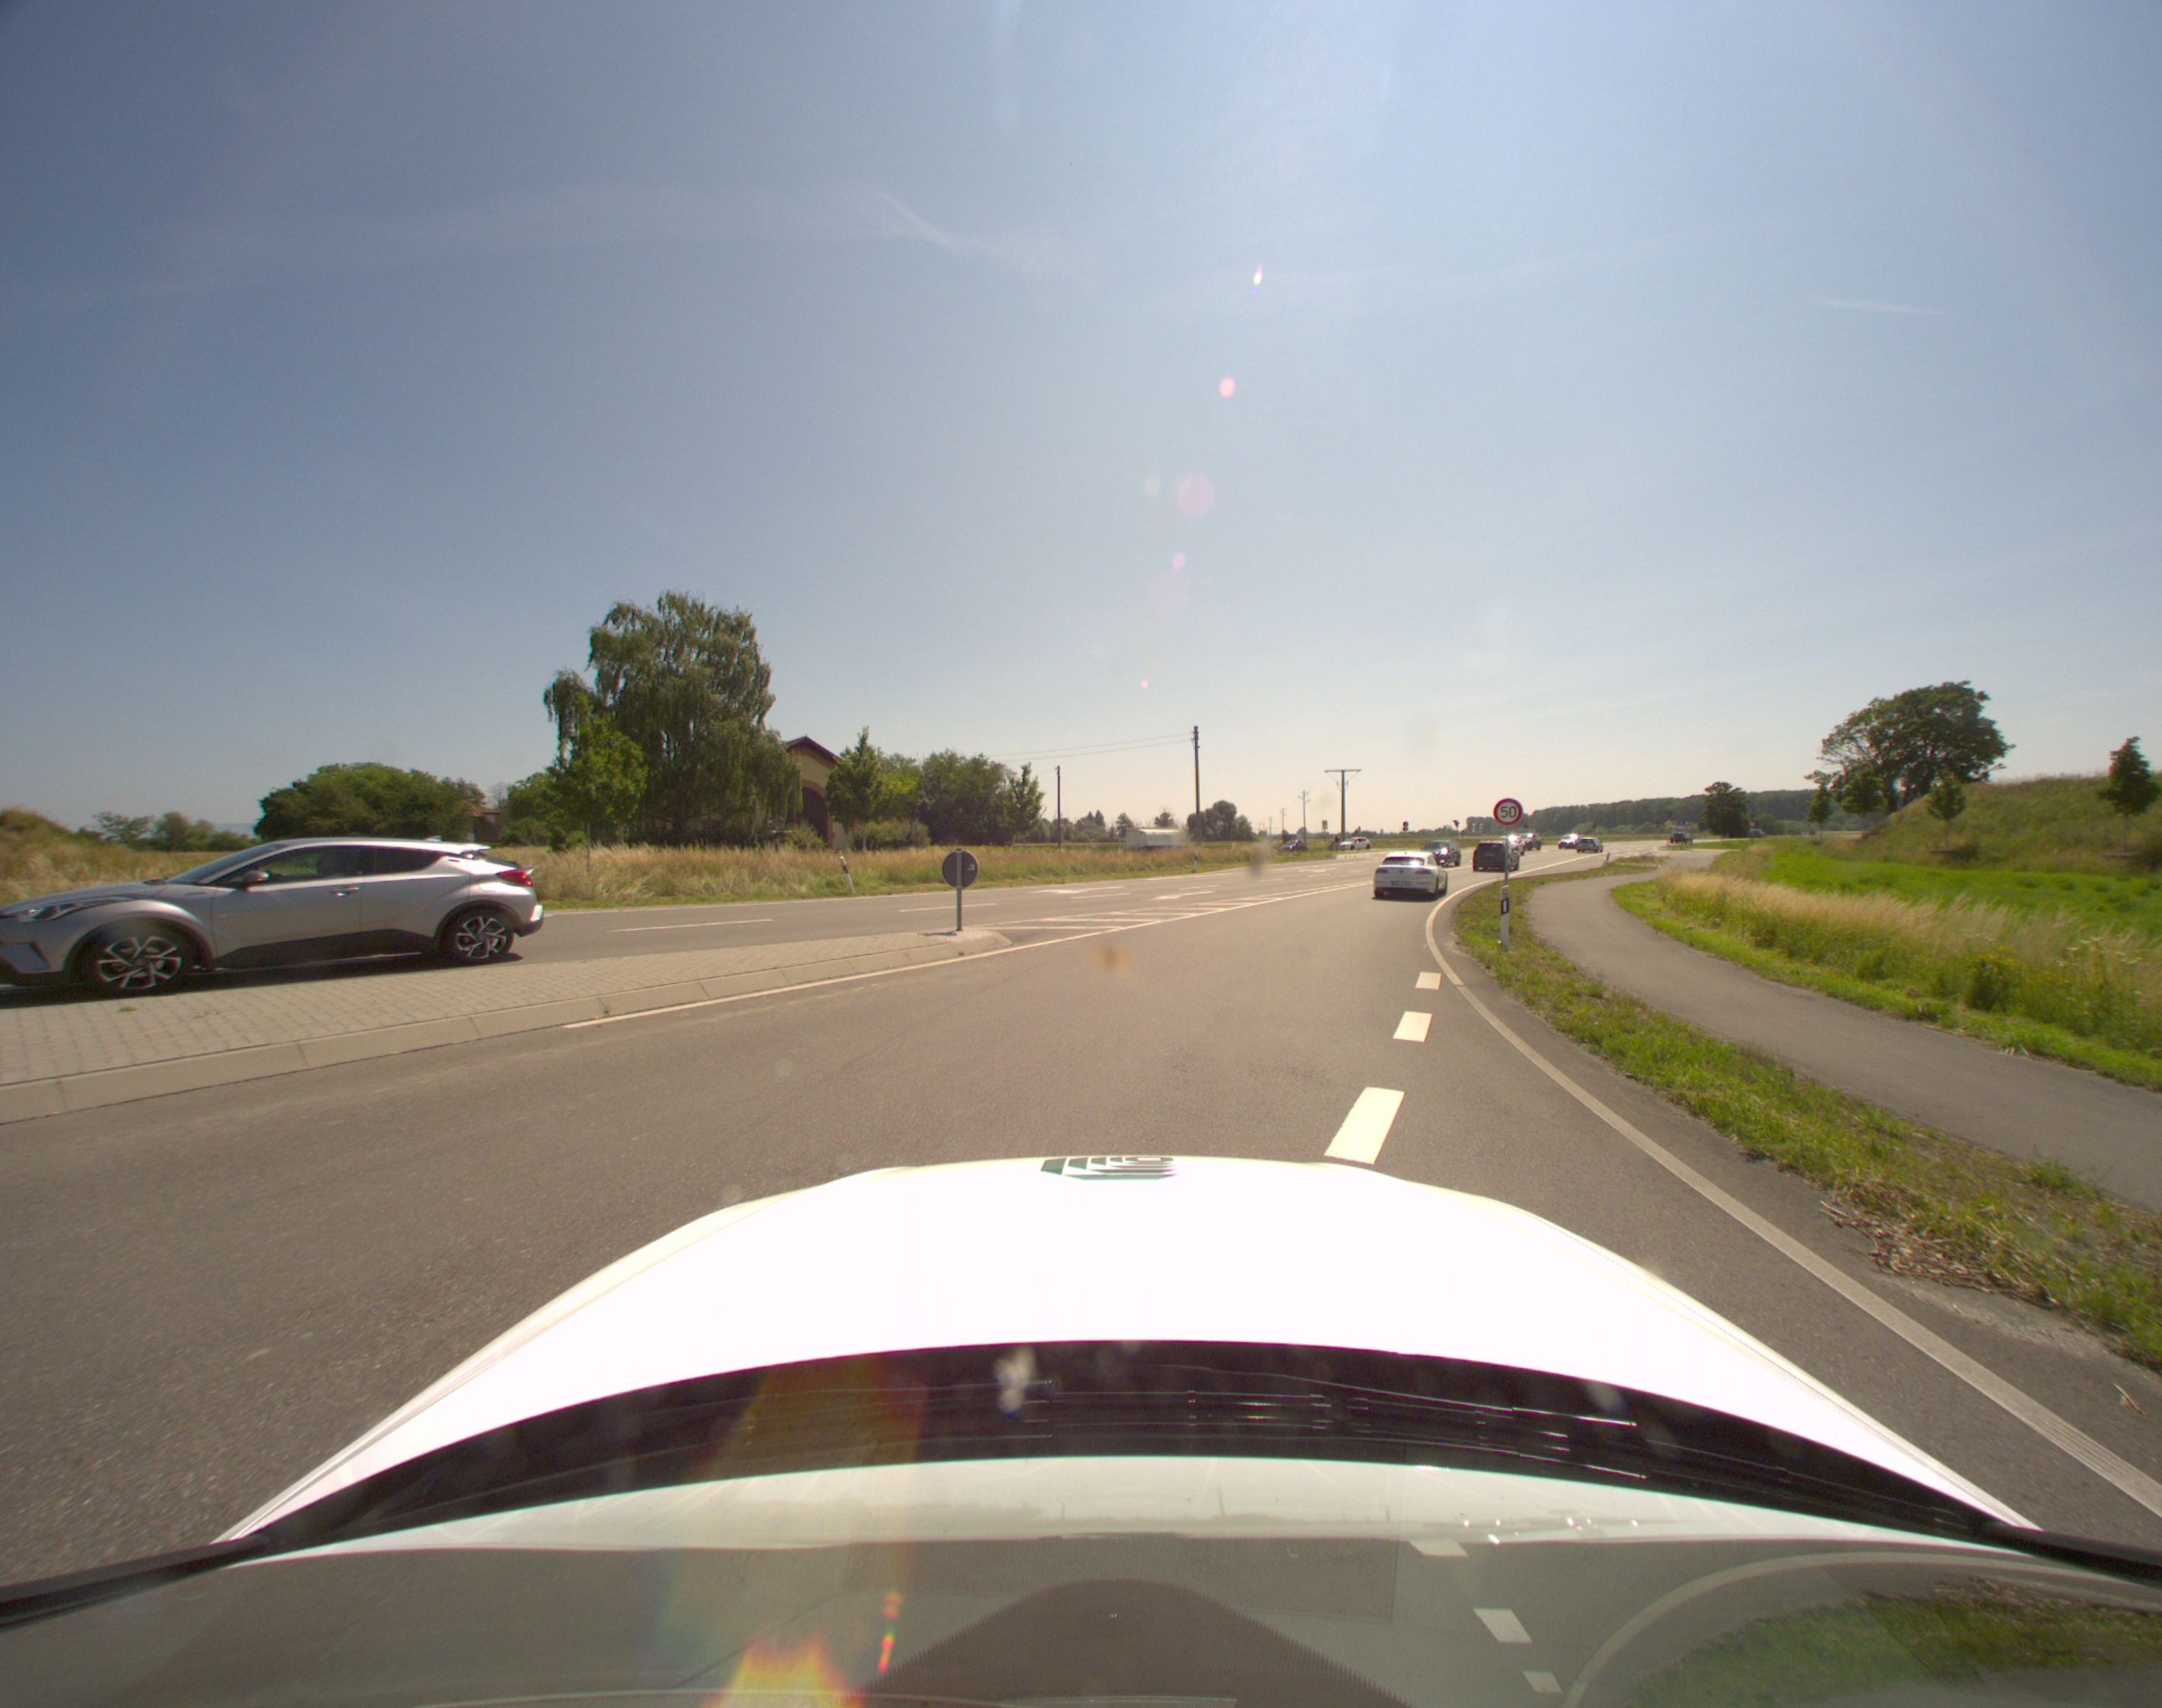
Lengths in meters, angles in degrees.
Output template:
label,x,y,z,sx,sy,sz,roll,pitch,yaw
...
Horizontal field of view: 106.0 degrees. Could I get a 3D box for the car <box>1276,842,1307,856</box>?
label,x,y,z,sx,sy,sz,roll,pitch,yaw
car,22.195,-0.521,85.752,1.658,1.387,3.863,2,1,40

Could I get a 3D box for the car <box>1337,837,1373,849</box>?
label,x,y,z,sx,sy,sz,roll,pitch,yaw
car,32.136,-1.268,95.501,4.046,1.332,1.682,0,1,-27

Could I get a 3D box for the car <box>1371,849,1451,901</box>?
label,x,y,z,sx,sy,sz,roll,pitch,yaw
car,10.554,0.592,25.875,1.830,1.433,4.636,1,1,28

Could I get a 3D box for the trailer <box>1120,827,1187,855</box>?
label,x,y,z,sx,sy,sz,roll,pitch,yaw
trailer,6.550,-1.206,72.843,2.652,2.455,6.423,1,2,41

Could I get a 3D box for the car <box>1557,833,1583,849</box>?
label,x,y,z,sx,sy,sz,roll,pitch,yaw
car,52.860,-1.434,88.009,1.715,1.556,4.443,-1,2,41

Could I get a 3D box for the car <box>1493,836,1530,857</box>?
label,x,y,z,sx,sy,sz,roll,pitch,yaw
car,36.532,-0.642,69.009,1.860,1.650,4.874,2,2,38

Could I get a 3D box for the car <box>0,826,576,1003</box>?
label,x,y,z,sx,sy,sz,roll,pitch,yaw
car,-8.705,0.527,9.344,1.848,1.544,4.579,1,0,40

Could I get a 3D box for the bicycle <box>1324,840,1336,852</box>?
label,x,y,z,sx,sy,sz,roll,pitch,yaw
bicycle,26.931,-0.884,88.076,1.519,1.248,0.486,0,1,-44

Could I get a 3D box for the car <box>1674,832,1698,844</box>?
label,x,y,z,sx,sy,sz,roll,pitch,yaw
car,80.061,-2.146,107.743,4.439,1.476,1.783,0,-1,-43

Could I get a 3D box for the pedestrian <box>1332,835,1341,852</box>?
label,x,y,z,sx,sy,sz,roll,pitch,yaw
pedestrian,27.611,-1.168,87.974,0.851,1.785,0.603,0,1,-43

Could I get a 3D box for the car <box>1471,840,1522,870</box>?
label,x,y,z,sx,sy,sz,roll,pitch,yaw
car,23.220,0.078,45.453,1.916,1.616,4.406,-1,-1,35

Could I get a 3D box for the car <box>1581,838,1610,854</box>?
label,x,y,z,sx,sy,sz,roll,pitch,yaw
car,48.415,-0.740,76.638,1.782,1.429,4.118,-2,-2,40

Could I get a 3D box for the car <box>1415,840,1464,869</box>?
label,x,y,z,sx,sy,sz,roll,pitch,yaw
car,22.027,0.016,49.972,1.847,1.650,4.355,1,2,36

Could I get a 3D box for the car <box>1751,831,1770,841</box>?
label,x,y,z,sx,sy,sz,roll,pitch,yaw
car,112.722,-3.002,135.143,3.904,1.522,1.784,-1,-2,-42
